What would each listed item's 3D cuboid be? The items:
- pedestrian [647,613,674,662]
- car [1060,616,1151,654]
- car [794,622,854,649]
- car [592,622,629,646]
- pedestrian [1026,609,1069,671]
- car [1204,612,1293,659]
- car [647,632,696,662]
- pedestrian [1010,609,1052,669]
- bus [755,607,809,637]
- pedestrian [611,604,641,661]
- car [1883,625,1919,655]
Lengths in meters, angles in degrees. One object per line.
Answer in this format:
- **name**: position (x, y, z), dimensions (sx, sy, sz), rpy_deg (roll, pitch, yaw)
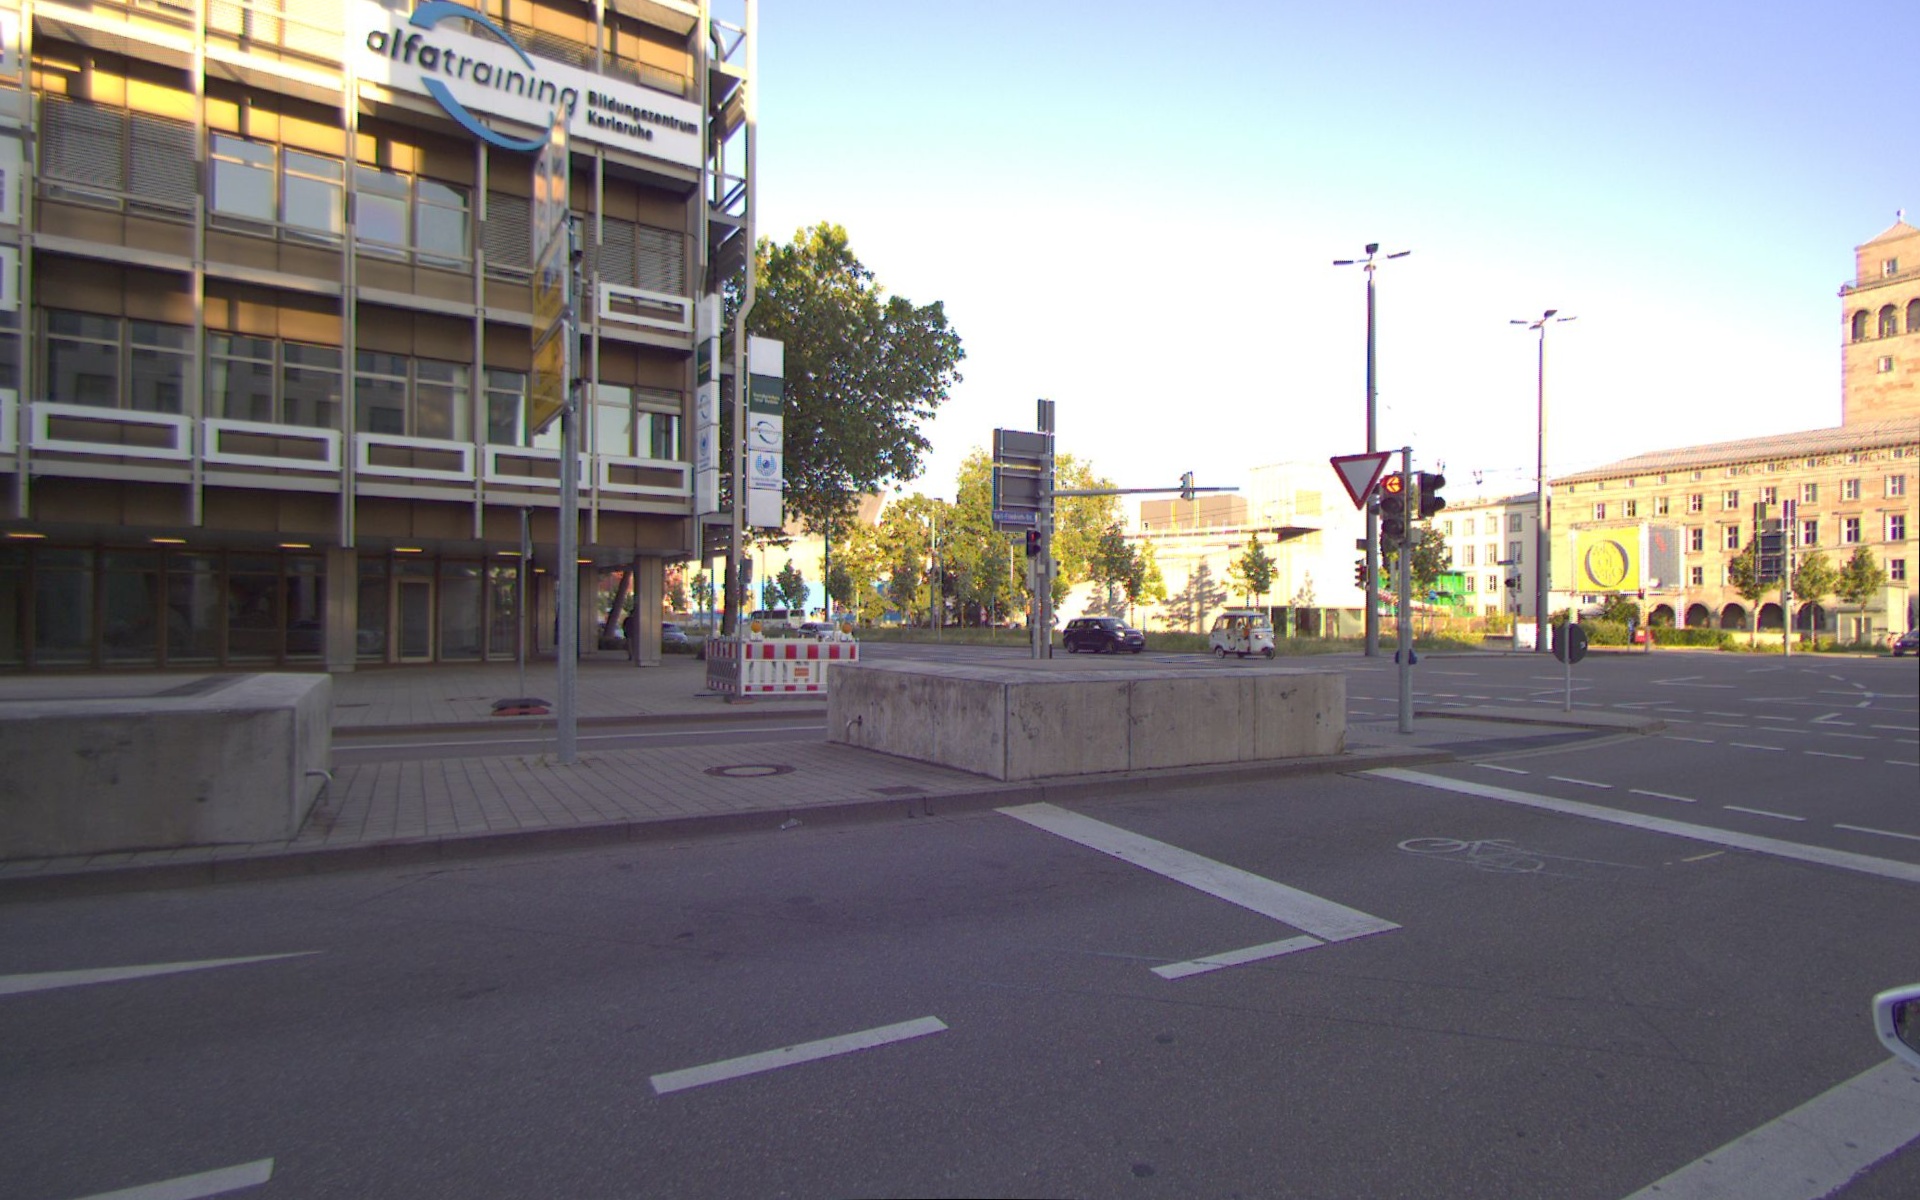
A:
- **pedestrian**: position (-10.142, 1.254, 33.968), dimensions (0.660, 1.606, 0.715), rpy_deg (2, 0, -34)
- **car**: position (6.464, 1.547, 44.861), dimensions (1.727, 1.626, 4.094), rpy_deg (1, -1, -35)
- **car**: position (-8.010, 2.031, 58.856), dimensions (1.830, 1.476, 4.552), rpy_deg (0, -1, -31)
- **car**: position (-24.372, 2.369, 69.944), dimensions (1.722, 1.605, 3.764), rpy_deg (0, -1, -31)
- **pedestrian**: position (2.522, 1.143, 28.874), dimensions (0.949, 1.744, 0.816), rpy_deg (1, -1, -34)
- **car**: position (10.812, 1.312, 37.800), dimensions (1.475, 1.718, 2.941), rpy_deg (1, -1, -38)
- **car**: position (-16.927, 2.723, 58.813), dimensions (1.722, 1.605, 4.554), rpy_deg (0, -1, -30)
- **pedestrian**: position (2.098, 1.134, 29.653), dimensions (0.949, 1.744, 0.816), rpy_deg (1, -1, -34)
- **bus**: position (-23.155, 2.829, 130.187), dimensions (2.959, 3.818, 10.341), rpy_deg (1, -1, -34)
- **pedestrian**: position (-11.089, 1.075, 33.351), dimensions (0.749, 1.830, 0.715), rpy_deg (2, 0, -35)
- **car**: position (51.281, 2.115, 53.674), dimensions (4.111, 1.485, 1.813), rpy_deg (0, -1, -32)
